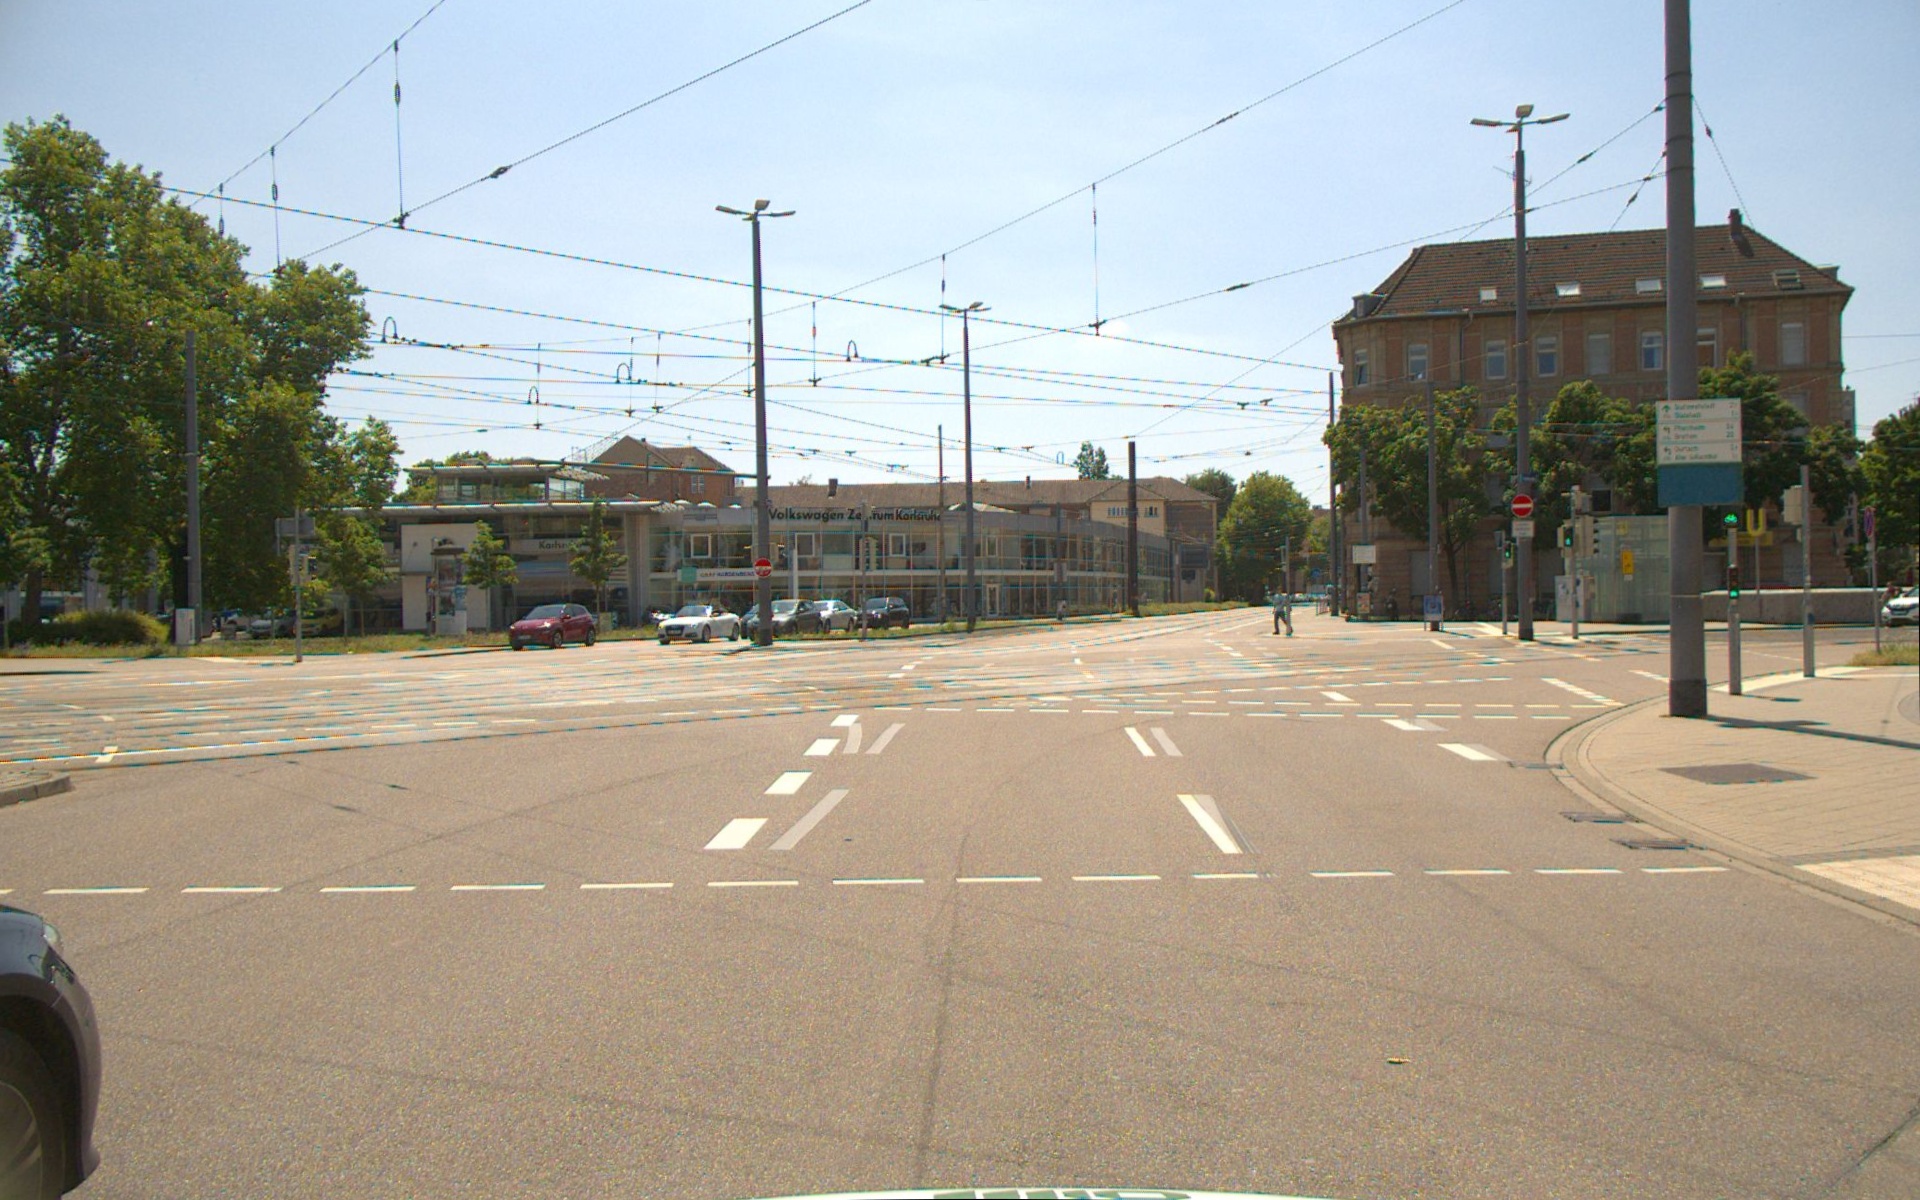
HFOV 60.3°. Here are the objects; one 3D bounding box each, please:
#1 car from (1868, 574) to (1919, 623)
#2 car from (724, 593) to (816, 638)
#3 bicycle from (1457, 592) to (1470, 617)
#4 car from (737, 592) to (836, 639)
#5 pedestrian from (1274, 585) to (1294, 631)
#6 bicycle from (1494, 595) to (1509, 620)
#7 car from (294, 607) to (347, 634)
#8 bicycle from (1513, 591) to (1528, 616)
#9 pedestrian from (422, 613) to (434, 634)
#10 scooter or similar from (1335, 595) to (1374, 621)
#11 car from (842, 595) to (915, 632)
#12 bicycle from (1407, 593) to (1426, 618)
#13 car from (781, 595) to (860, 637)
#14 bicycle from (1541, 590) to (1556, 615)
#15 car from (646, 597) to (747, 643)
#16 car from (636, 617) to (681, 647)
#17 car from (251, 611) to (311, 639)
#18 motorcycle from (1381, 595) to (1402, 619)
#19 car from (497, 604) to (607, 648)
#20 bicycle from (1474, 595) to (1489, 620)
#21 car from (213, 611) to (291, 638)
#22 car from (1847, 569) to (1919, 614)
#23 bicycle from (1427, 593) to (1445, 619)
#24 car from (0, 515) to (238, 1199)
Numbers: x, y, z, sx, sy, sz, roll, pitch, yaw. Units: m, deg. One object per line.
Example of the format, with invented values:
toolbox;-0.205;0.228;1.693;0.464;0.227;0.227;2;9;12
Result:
car;33.381;-0.096;56.865;4.126;1.633;1.681;-1;0;-25
car;-7.736;0.608;67.826;1.951;1.730;4.849;-1;0;16
bicycle;23.236;0.210;76.352;0.539;1.139;1.821;-1;0;16
car;-6.435;0.541;62.009;1.951;1.666;4.849;-1;0;16
pedestrian;12.166;0.304;62.132;0.455;1.738;0.635;-1;0;-25
bicycle;24.883;0.347;76.014;0.539;1.139;1.890;-1;0;16
car;-38.034;1.198;98.447;1.732;1.536;4.322;-1;0;-5
bicycle;25.915;0.155;76.445;0.539;1.139;1.872;-1;0;16
pedestrian;-30.473;1.337;94.800;0.502;1.225;0.446;-1;0;5
scooter or similar;19.005;0.378;79.658;1.761;1.202;0.596;-1;0;-21
car;-3.933;0.650;80.655;2.035;1.712;4.849;-1;0;16
bicycle;21.128;0.253;76.526;0.539;1.139;1.821;-1;0;6
car;-6.190;0.698;73.780;1.951;1.770;4.546;-1;0;16
bicycle;27.190;0.112;76.425;0.539;1.139;1.931;-1;0;16
car;-9.744;0.705;61.626;2.032;1.608;4.850;-1;0;13
car;-17.814;1.888;97.756;1.881;1.737;4.000;1;-1;0
car;-40.559;1.469;98.871;1.730;1.536;4.327;-1;0;0
motorcycle;19.998;0.300;76.639;0.568;1.093;1.947;-1;0;3
car;-15.004;0.929;61.134;1.951;1.491;4.850;-1;0;13
bicycle;23.985;0.334;76.083;0.539;1.139;1.821;-1;0;16
car;-44.680;1.532;104.404;4.278;1.536;1.750;-1;0;-36
car;35.518;-0.326;62.489;3.594;1.633;1.681;-1;0;-25
bicycle;22.039;0.275;76.588;0.433;1.166;2.095;1;-1;6
car;-2.644;0.673;1.469;1.760;1.669;4.806;1;0;2
